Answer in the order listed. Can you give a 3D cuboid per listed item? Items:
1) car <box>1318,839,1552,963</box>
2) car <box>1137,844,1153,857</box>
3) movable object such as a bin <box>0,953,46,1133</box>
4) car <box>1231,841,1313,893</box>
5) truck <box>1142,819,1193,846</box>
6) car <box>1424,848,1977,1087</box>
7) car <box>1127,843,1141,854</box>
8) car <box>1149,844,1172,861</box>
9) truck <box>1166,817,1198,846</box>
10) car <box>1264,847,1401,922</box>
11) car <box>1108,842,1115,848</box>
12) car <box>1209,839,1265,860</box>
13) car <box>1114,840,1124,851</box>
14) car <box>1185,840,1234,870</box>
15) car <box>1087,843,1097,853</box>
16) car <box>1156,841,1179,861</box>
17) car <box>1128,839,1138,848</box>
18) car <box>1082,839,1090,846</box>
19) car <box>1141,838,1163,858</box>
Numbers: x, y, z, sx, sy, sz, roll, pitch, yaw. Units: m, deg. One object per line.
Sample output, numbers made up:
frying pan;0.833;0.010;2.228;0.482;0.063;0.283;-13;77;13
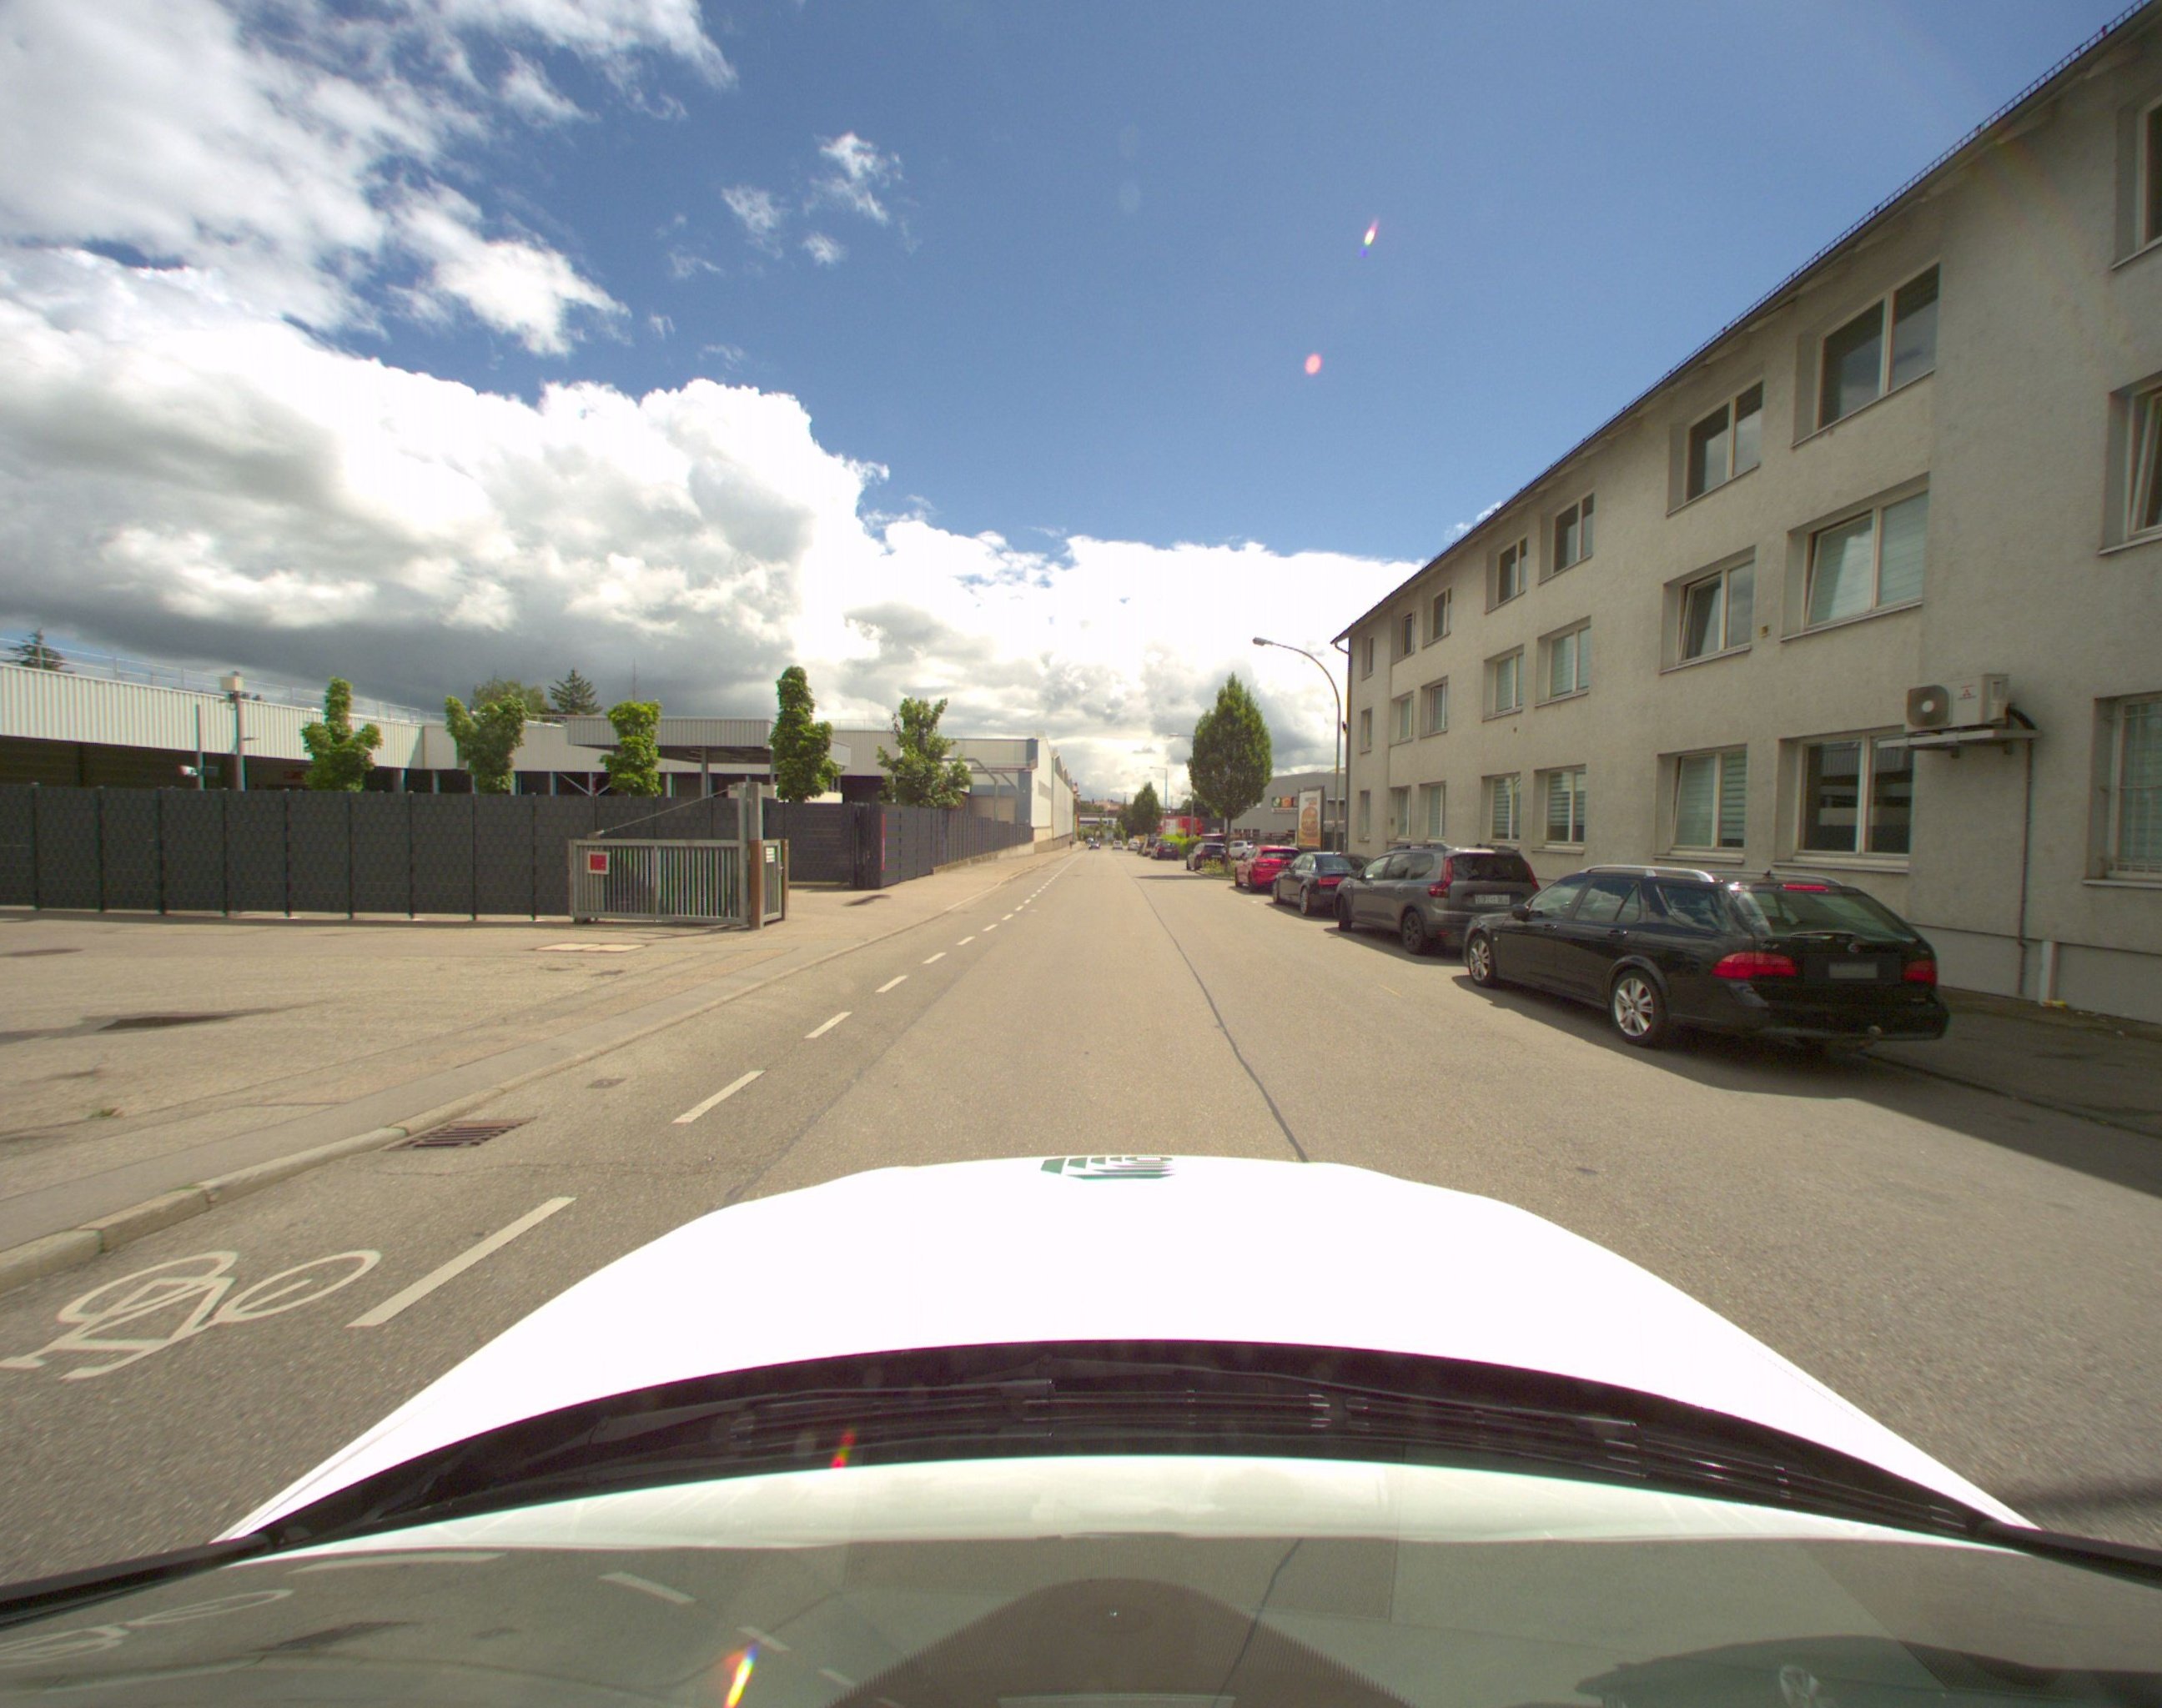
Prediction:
car;5.671;0.617;13.811;1.672;1.638;4.793;2;1;-2
car;7.650;-0.468;97.399;1.708;1.473;4.512;1;0;1
movable object such as a bin;-6.944;1.164;4.738;0.868;1.050;0.741;-2;1;5
car;5.984;0.354;26.034;1.728;1.472;4.264;1;1;2
truck;15.036;-3.693;141.640;8.377;4.671;2.596;0;-1;22
car;5.407;0.782;8.245;1.699;1.510;5.088;3;1;0
car;8.292;-0.849;127.829;1.697;1.527;3.735;3;1;-2
car;7.176;-0.154;73.782;1.649;1.540;4.735;1;0;1
truck;16.593;-3.702;134.694;2.577;4.449;7.825;1;-1;-14
car;5.741;0.603;19.238;1.729;1.423;4.861;1;1;0
car;7.693;-2.251;206.250;1.846;1.486;4.000;1;-1;1
car;11.915;-0.346;62.243;1.733;1.462;4.029;-3;1;-37
car;6.275;-1.397;135.434;1.561;1.786;3.606;1;-1;1
car;6.566;0.044;42.129;1.785;1.465;4.707;1;0;0
car;1.932;-1.030;140.063;1.713;1.555;4.288;-3;-1;1
car;7.272;-0.258;68.545;1.672;1.638;4.126;1;0;3
car;8.803;-1.742;138.568;1.694;1.527;3.741;1;1;3
car;1.096;-2.757;194.985;1.846;1.486;4.000;1;-1;1
car;7.233;-0.645;83.744;1.862;1.990;5.145;1;0;1
